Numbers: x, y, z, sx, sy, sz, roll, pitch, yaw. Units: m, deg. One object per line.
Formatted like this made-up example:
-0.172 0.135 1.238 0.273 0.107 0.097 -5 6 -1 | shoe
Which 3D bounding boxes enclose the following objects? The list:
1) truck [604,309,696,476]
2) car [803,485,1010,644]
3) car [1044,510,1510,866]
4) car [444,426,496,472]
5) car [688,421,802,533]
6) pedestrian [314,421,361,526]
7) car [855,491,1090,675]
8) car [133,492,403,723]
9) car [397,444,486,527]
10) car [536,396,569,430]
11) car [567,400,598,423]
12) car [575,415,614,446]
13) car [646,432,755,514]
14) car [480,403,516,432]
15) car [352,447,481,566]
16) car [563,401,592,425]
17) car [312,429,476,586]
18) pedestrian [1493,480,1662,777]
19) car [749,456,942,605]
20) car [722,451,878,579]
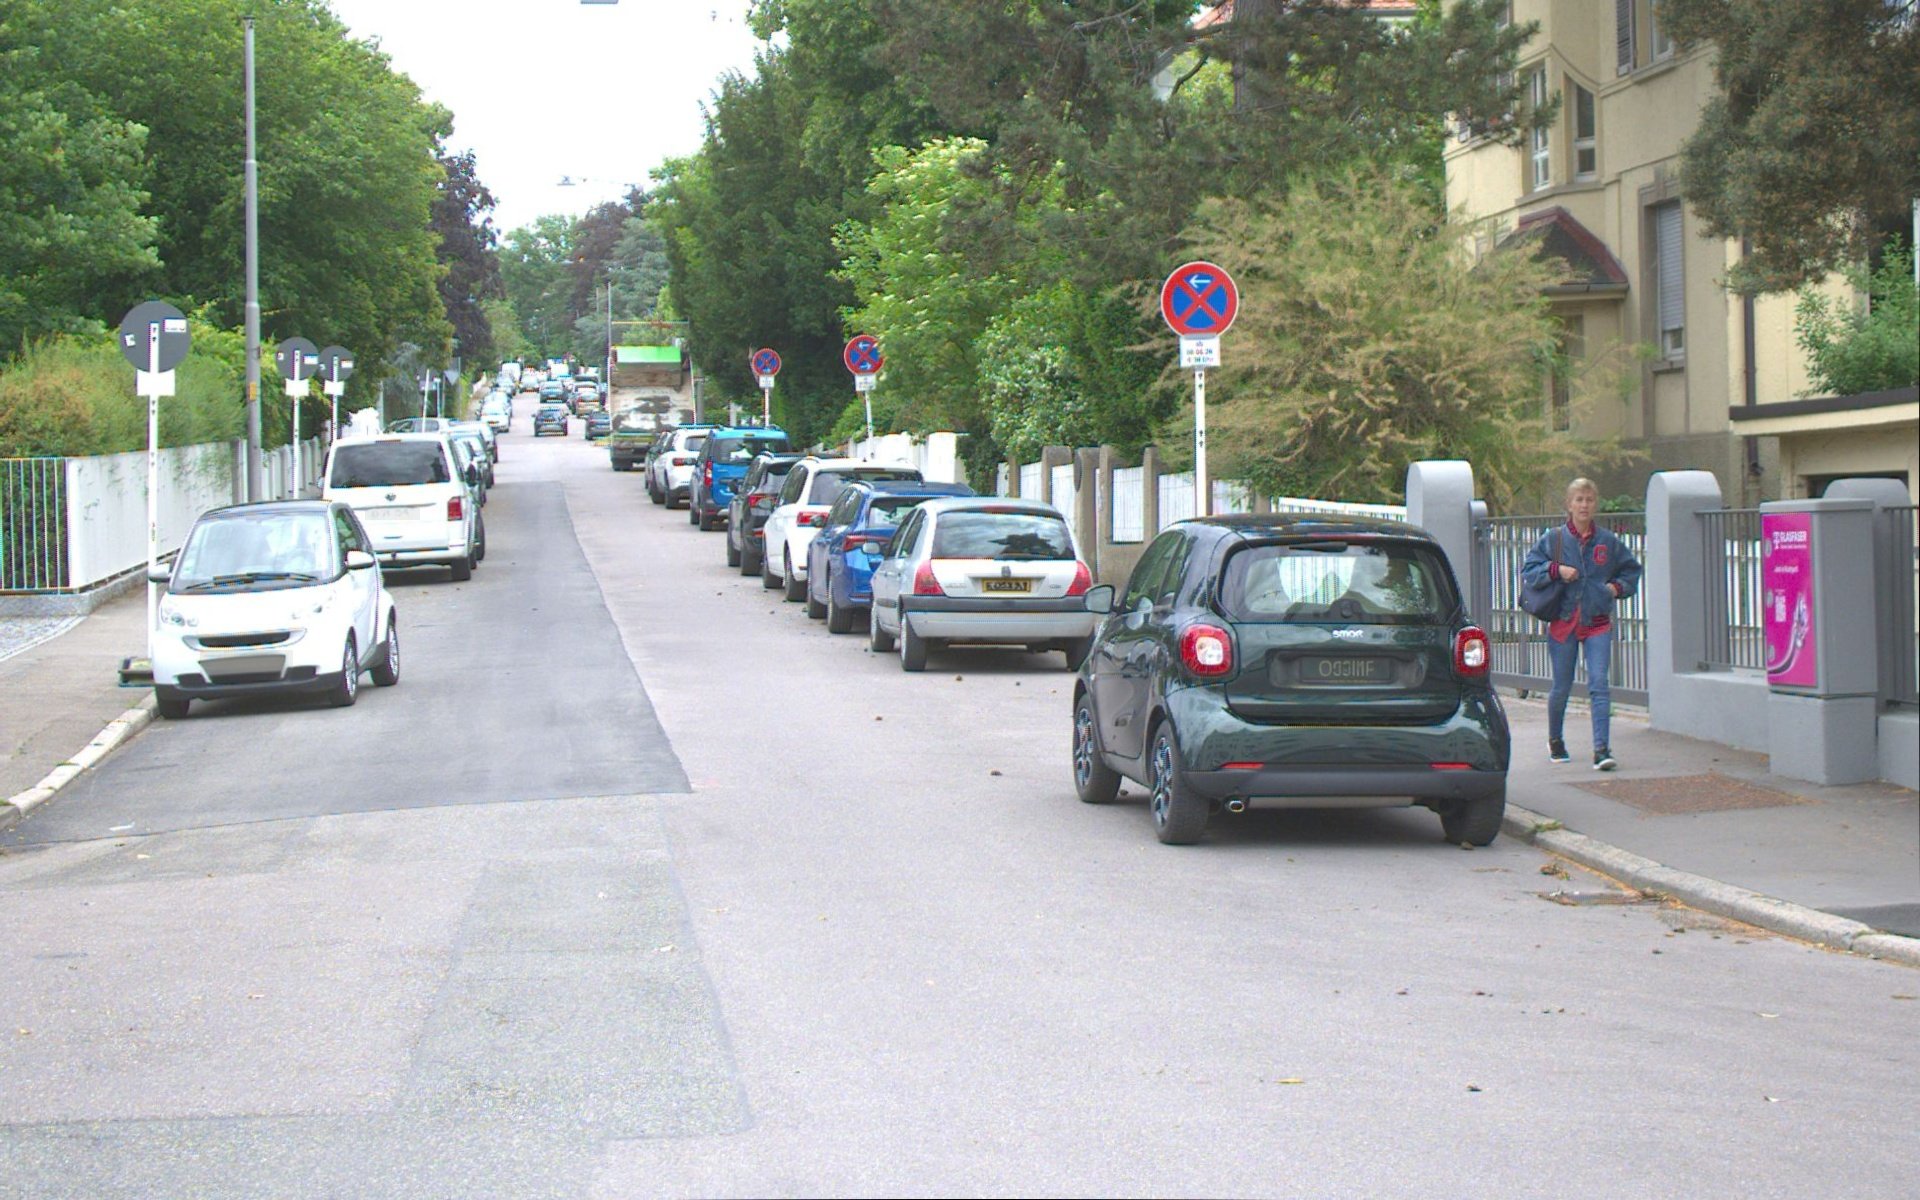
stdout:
-9.249 -6.139 102.037 2.524 4.731 7.190 0 3 -6 | truck
-0.593 -0.403 34.487 1.647 1.453 4.053 0 2 -7 | car
1.488 0.372 17.095 1.571 1.526 2.869 2 3 -10 | car
-16.344 -5.059 114.592 1.636 1.390 3.991 -3 4 -8 | car
-3.840 -2.204 60.870 1.682 1.823 4.158 1 3 -8 | car
-12.067 -2.463 66.671 0.811 2.006 0.860 0 3 -6 | pedestrian
0.048 -0.192 29.538 1.573 1.395 3.656 1 3 -7 | car
-5.323 0.014 26.735 1.442 1.546 2.770 -4 3 0 | car
-10.600 -2.356 70.158 1.621 1.527 2.964 -3 4 -10 | car
-21.323 -9.789 179.893 1.633 1.695 3.496 0 4 -8 | car
-23.546 -11.750 214.260 1.810 1.331 3.634 1 4 -8 | car
-18.199 -8.463 171.224 1.778 1.484 4.002 -1 3 -8 | car
-5.430 -2.669 71.563 1.757 1.600 4.577 0 3 -11 | car
-25.548 -10.106 190.125 1.711 1.580 4.001 0 3 -4 | car
-8.241 -1.463 52.108 1.790 1.617 4.345 -2 4 -9 | car
-24.810 -12.164 223.080 1.789 1.524 3.735 0 3 -6 | car
-7.515 -1.289 46.011 1.854 1.906 4.621 -3 3 -7 | car
3.403 0.146 19.011 0.681 1.571 0.906 -3 1 -1 | pedestrian
-1.415 -0.869 40.822 1.784 1.597 4.306 1 3 -8 | car
-2.200 -1.186 46.350 1.749 1.602 4.077 1 2 -7 | car
